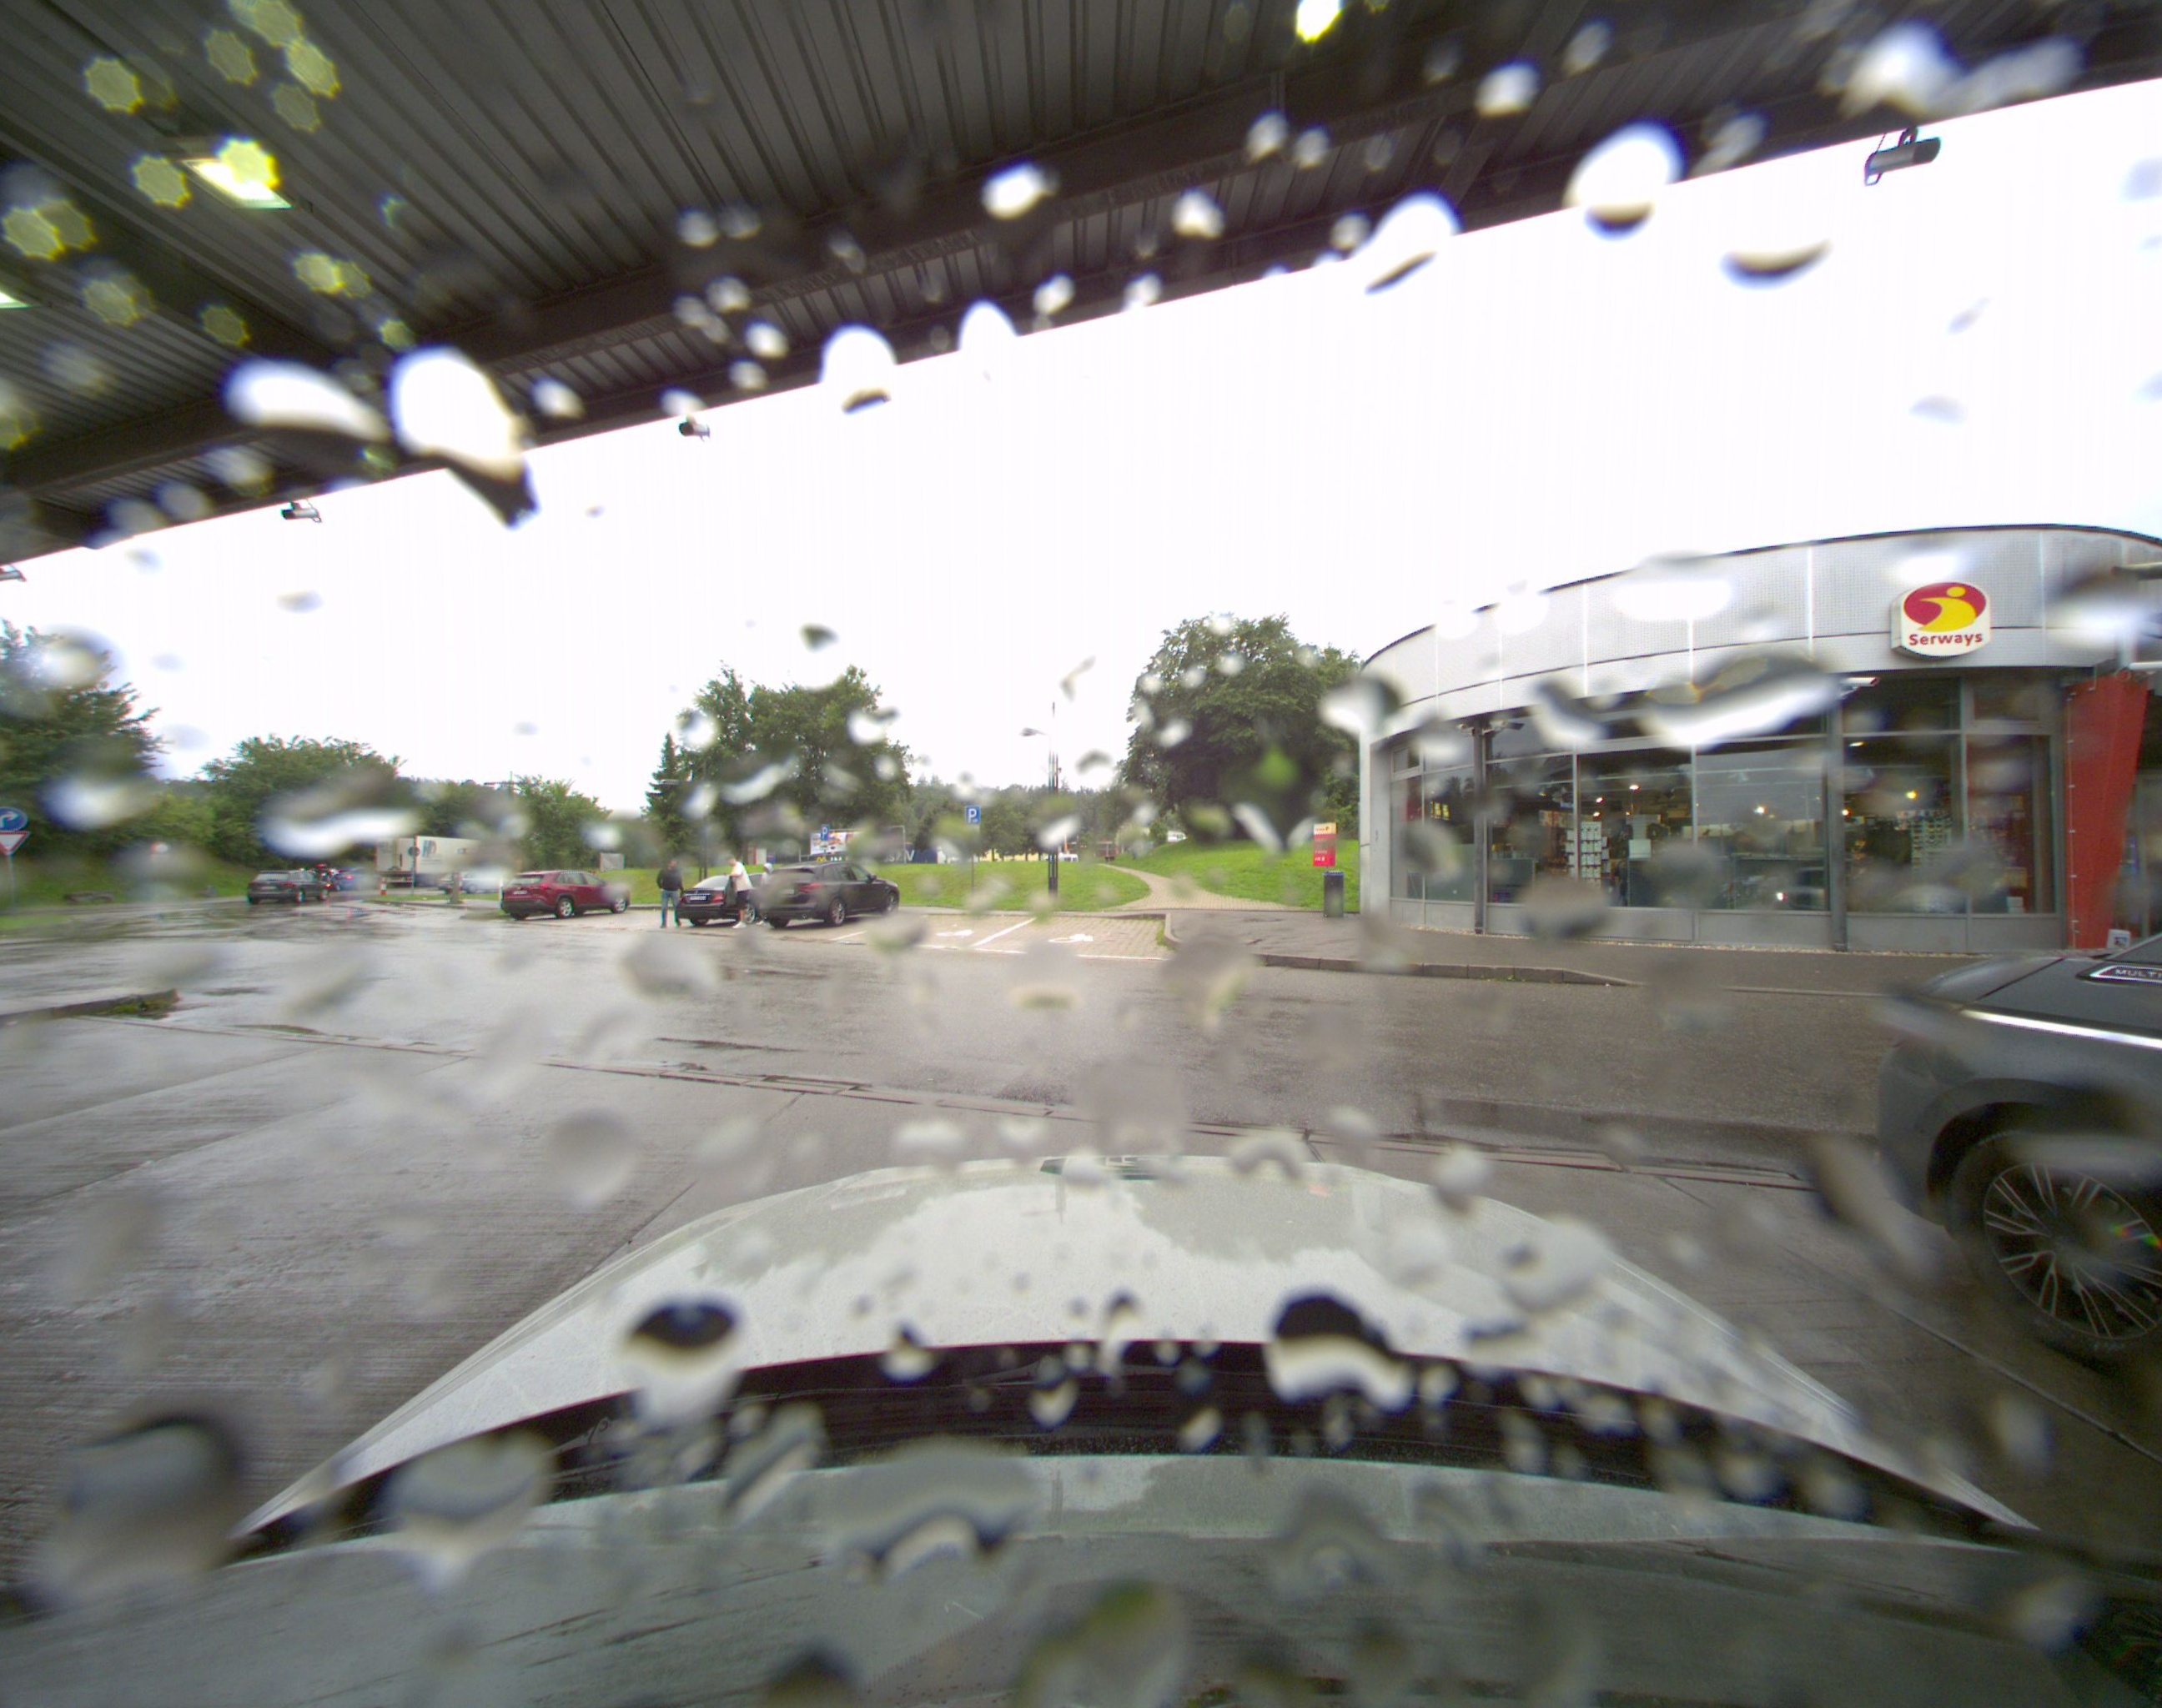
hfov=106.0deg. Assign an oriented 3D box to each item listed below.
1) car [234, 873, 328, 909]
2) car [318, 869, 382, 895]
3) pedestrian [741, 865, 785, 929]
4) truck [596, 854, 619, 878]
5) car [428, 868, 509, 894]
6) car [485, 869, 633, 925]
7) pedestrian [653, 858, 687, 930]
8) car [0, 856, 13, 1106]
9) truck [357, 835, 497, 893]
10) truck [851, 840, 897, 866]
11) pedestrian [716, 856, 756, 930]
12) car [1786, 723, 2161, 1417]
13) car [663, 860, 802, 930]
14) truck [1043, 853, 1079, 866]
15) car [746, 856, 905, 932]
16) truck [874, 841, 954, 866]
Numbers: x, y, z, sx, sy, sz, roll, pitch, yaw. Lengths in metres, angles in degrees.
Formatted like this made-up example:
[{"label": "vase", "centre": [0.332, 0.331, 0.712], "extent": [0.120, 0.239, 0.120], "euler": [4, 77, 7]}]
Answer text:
[{"label": "car", "centre": [-40.016, 1.815, 40.850], "extent": [2.002, 1.678, 3.969], "euler": [-1, -1, -23]}, {"label": "car", "centre": [-50.341, 1.888, 56.164], "extent": [1.814, 1.681, 3.927], "euler": [0, -1, -18]}, {"label": "pedestrian", "centre": [-8.366, 1.111, 21.433], "extent": [0.698, 1.631, 0.956], "euler": [0, -1, 6]}, {"label": "truck", "centre": [-63.293, 1.561, 108.959], "extent": [2.492, 3.085, 7.288], "euler": [0, -1, -29]}, {"label": "car", "centre": [-40.383, 1.757, 53.831], "extent": [1.758, 1.628, 4.016], "euler": [-1, -1, 15]}, {"label": "car", "centre": [-18.133, 1.445, 28.585], "extent": [1.928, 1.644, 4.352], "euler": [-2, 0, 7]}, {"label": "pedestrian", "centre": [-11.111, 1.053, 22.023], "extent": [0.704, 1.887, 0.888], "euler": [0, -1, -19]}, {"label": "car", "centre": [-7.963, 0.804, 2.669], "extent": [1.854, 1.608, 5.273], "euler": [0, -1, 2]}, {"label": "truck", "centre": [-55.442, 0.850, 69.968], "extent": [3.550, 4.340, 16.899], "euler": [0, -1, -18]}, {"label": "truck", "centre": [-24.184, -0.082, 95.447], "extent": [2.165, 2.920, 5.419], "euler": [-1, -1, 27]}, {"label": "pedestrian", "centre": [-9.008, 1.007, 21.291], "extent": [0.700, 1.887, 0.952], "euler": [0, -1, -5]}, {"label": "car", "centre": [3.679, 0.543, 0.671], "extent": [1.854, 1.798, 5.142], "euler": [0, -1, 2]}, {"label": "car", "centre": [-9.830, 1.084, 23.417], "extent": [2.010, 1.711, 4.344], "euler": [-2, 0, 1]}, {"label": "truck", "centre": [-3.248, 0.878, 134.098], "extent": [5.356, 2.014, 2.381], "euler": [-1, -1, 26]}, {"label": "car", "centre": [-6.645, 0.973, 21.773], "extent": [2.002, 1.711, 4.360], "euler": [-2, 0, 14]}, {"label": "truck", "centre": [-20.752, -0.051, 102.339], "extent": [2.165, 2.920, 13.175], "euler": [-1, -1, 26]}]
